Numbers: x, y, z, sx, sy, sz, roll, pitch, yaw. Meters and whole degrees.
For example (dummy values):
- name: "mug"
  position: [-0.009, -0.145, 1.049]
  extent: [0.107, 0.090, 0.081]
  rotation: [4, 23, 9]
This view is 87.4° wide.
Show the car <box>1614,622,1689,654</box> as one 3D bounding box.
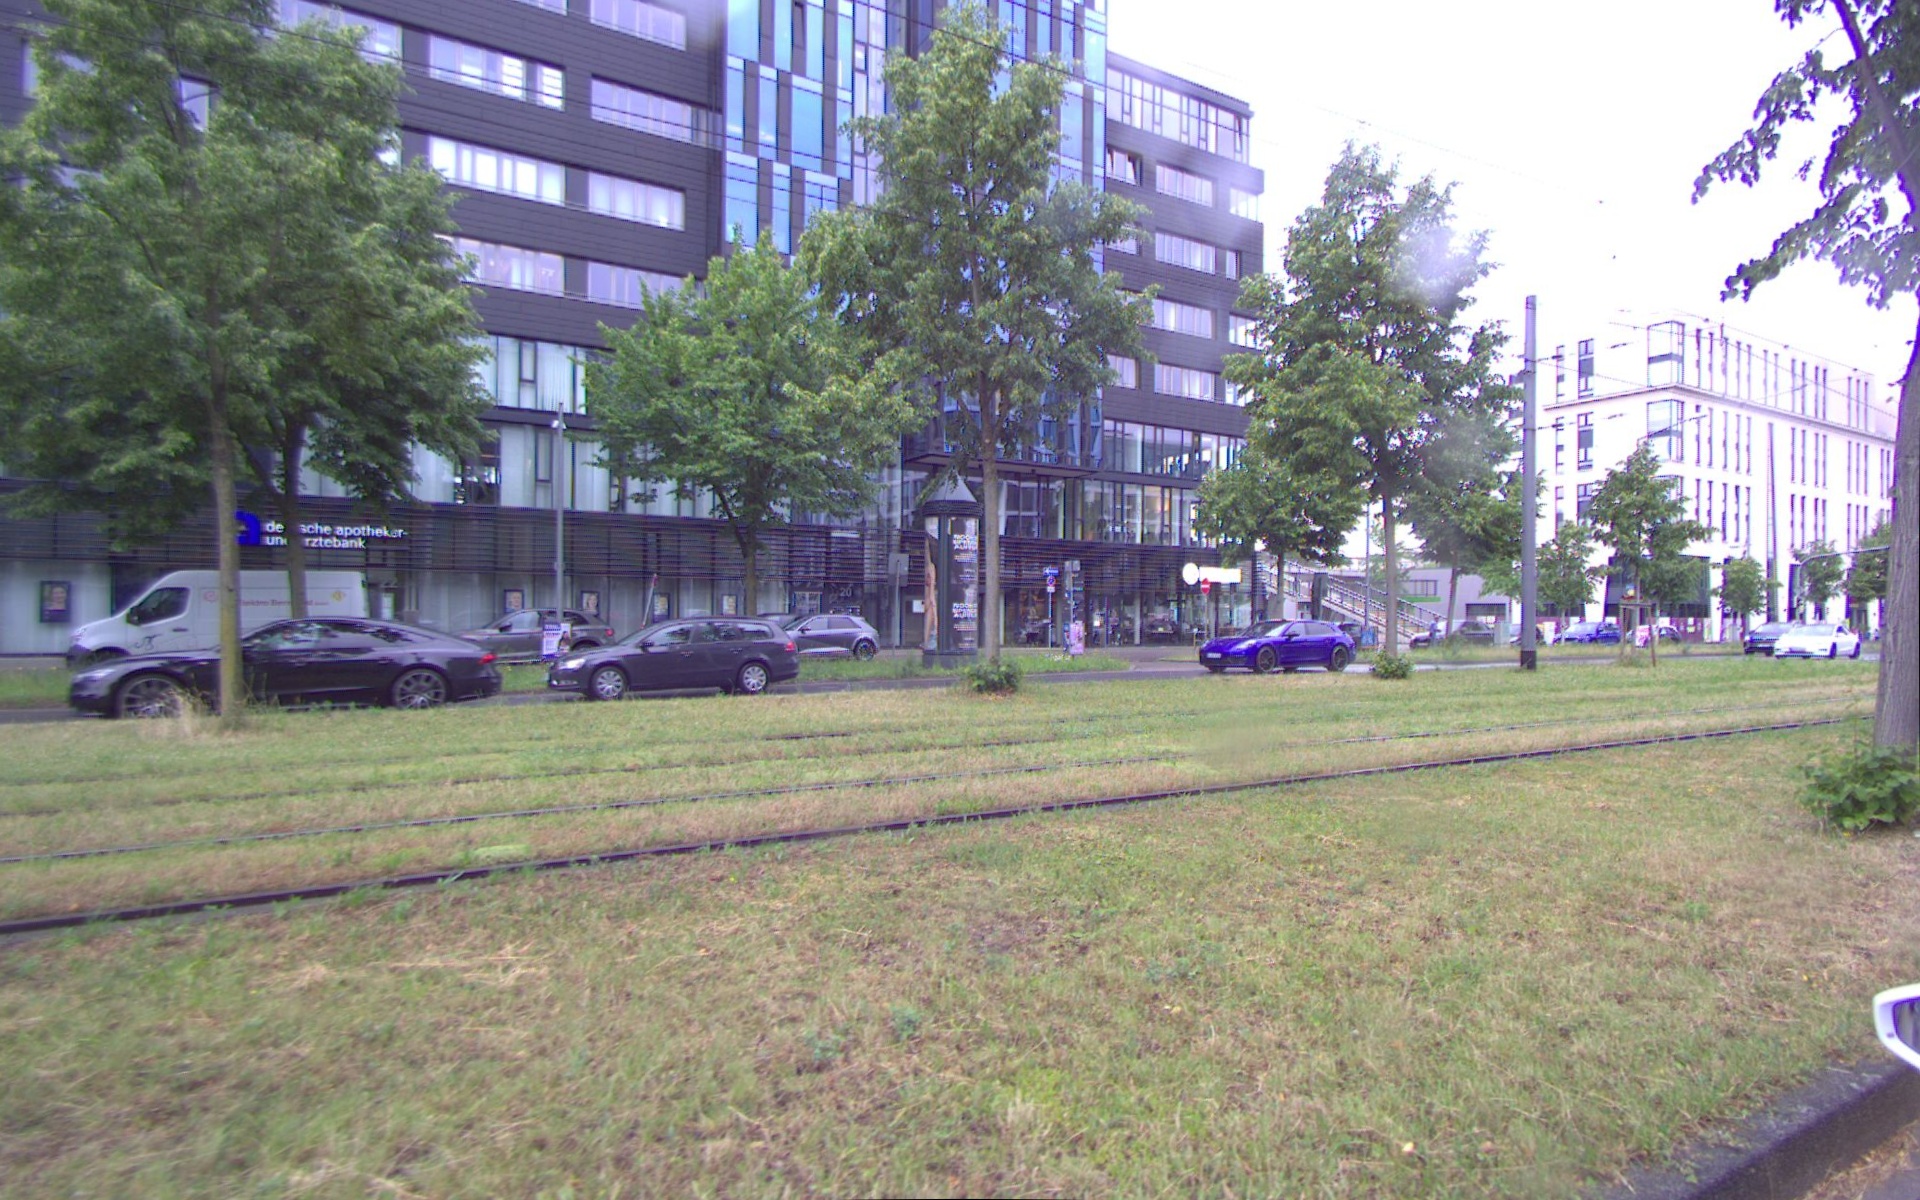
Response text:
- name: "car"
  position: [38.324, 2.079, 55.631]
  extent: [4.400, 1.620, 1.981]
  rotation: [1, 0, -35]

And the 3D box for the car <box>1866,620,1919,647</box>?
- name: "car"
  position: [67.887, 2.416, 73.027]
  extent: [3.954, 1.862, 1.983]
  rotation: [1, 0, -31]

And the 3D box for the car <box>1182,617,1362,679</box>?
- name: "car"
  position: [8.633, 1.260, 27.631]
  extent: [4.955, 1.542, 1.983]
  rotation: [1, 0, -32]

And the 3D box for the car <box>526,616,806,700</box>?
- name: "car"
  position: [-5.572, 1.037, 19.228]
  extent: [4.816, 1.398, 1.983]
  rotation: [1, 0, -31]

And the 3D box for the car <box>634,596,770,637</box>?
- name: "car"
  position: [-9.143, 0.574, 35.737]
  extent: [4.398, 1.368, 1.742]
  rotation: [1, 0, -32]

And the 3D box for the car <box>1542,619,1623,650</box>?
- name: "car"
  position: [32.091, 1.748, 51.738]
  extent: [4.400, 1.504, 1.981]
  rotation: [1, 0, -35]

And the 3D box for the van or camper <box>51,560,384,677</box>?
- name: "van or camper"
  position: [-16.406, 0.408, 22.765]
  extent: [5.781, 2.346, 2.421]
  rotation: [1, 0, -31]

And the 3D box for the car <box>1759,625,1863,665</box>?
- name: "car"
  position: [35.088, 1.821, 41.390]
  extent: [4.395, 1.504, 1.983]
  rotation: [1, 0, -31]

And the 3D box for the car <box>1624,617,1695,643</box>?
- name: "car"
  position: [42.481, 1.788, 60.986]
  extent: [4.395, 1.504, 1.983]
  rotation: [1, 0, -31]

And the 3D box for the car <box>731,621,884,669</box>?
- name: "car"
  position: [-5.092, 1.473, 33.626]
  extent: [4.677, 1.424, 1.984]
  rotation: [1, 1, -31]

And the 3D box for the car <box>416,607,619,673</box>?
- name: "car"
  position: [-11.309, 0.971, 25.741]
  extent: [4.555, 1.542, 1.983]
  rotation: [1, 0, -32]

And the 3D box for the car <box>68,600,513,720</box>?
- name: "car"
  position: [-8.942, 0.747, 13.952]
  extent: [4.816, 1.398, 1.983]
  rotation: [1, 0, -31]

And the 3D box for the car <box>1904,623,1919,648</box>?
- name: "car"
  position: [59.808, 2.164, 61.622]
  extent: [4.401, 1.504, 1.980]
  rotation: [1, 0, -35]

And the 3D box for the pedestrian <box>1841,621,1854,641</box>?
- name: "pedestrian"
  position: [79.826, 2.763, 90.335]
  extent: [0.732, 1.740, 0.632]
  rotation: [1, 0, -28]

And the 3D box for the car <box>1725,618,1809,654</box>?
- name: "car"
  position: [38.968, 1.716, 48.478]
  extent: [3.956, 1.639, 1.983]
  rotation: [1, -1, -32]

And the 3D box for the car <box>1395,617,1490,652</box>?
- name: "car"
  position: [21.827, 1.517, 45.413]
  extent: [4.400, 1.504, 1.981]
  rotation: [1, 0, -35]
